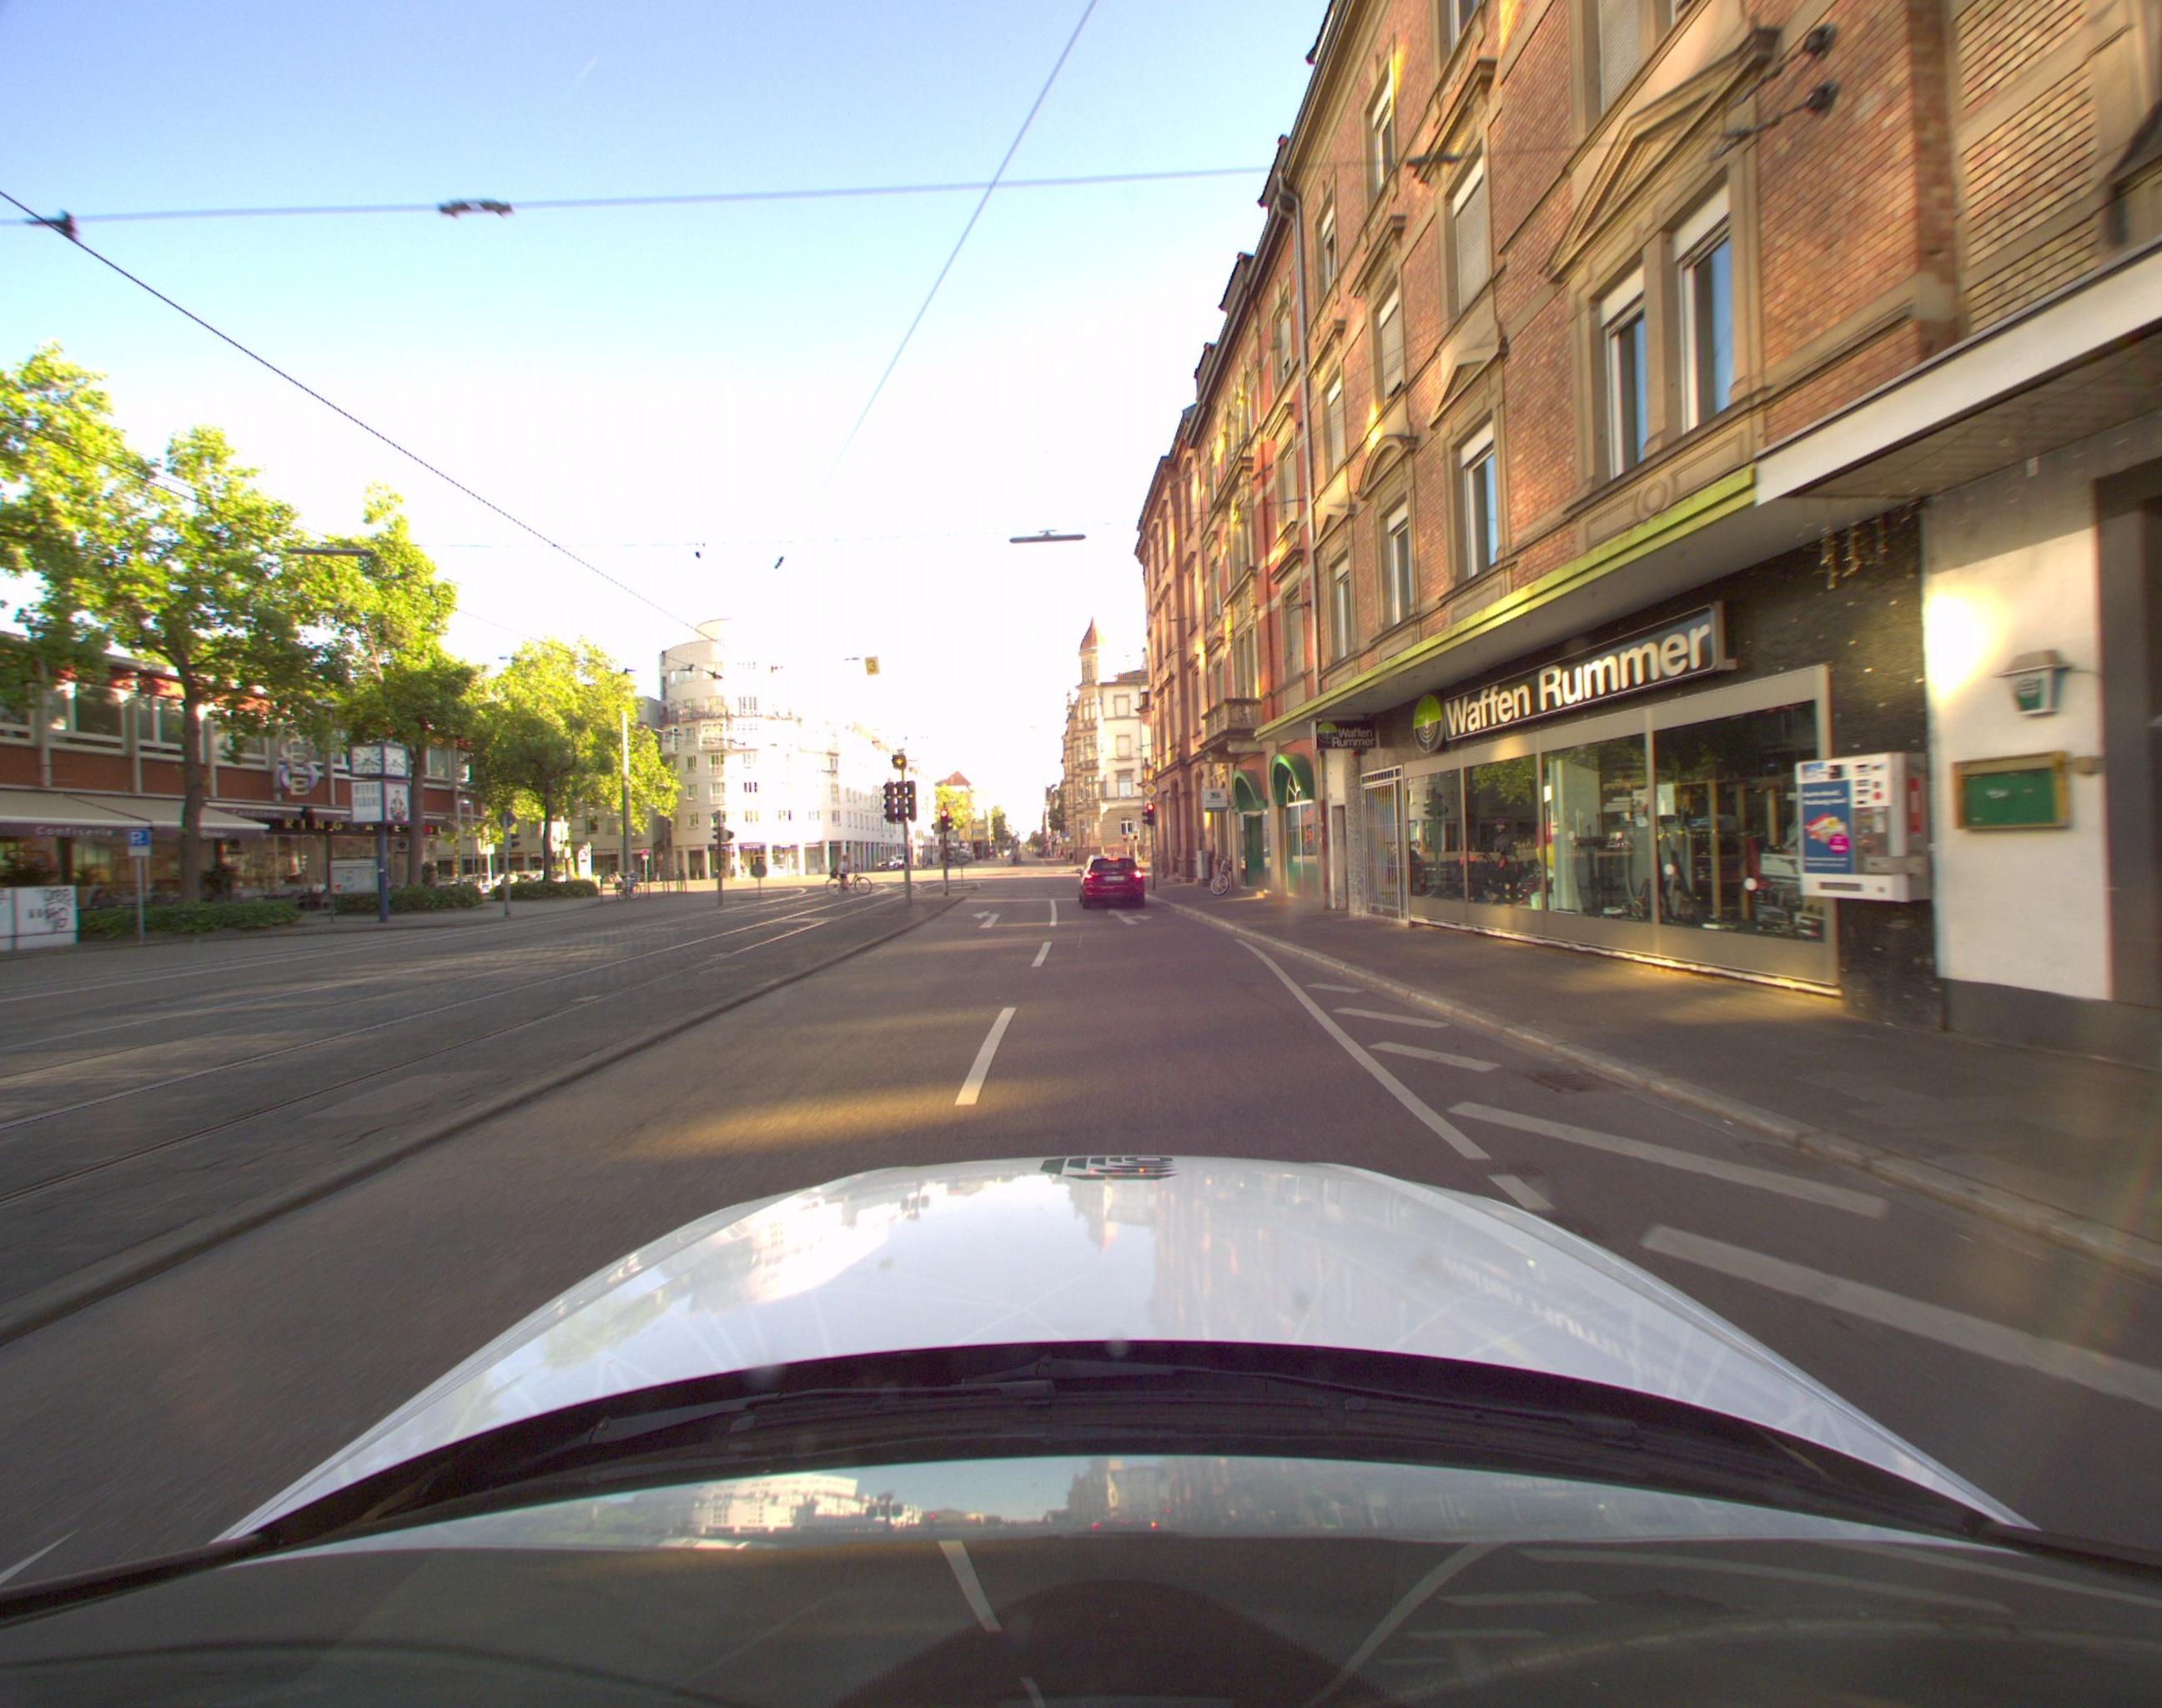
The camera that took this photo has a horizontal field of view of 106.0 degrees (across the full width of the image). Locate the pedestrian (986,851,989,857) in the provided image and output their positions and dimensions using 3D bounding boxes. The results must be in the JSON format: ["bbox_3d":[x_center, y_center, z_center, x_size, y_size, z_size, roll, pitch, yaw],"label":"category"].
[{"bbox_3d":[-24.505,0.044,213.547,0.631,1.604,0.575,-2,0,-20],"label":"pedestrian"}]

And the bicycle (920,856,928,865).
[{"bbox_3d":[-21.070,0.909,109.211,0.806,1.147,2.008,-2,0,-3],"label":"bicycle"}]

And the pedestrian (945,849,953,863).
[{"bbox_3d":[-19.027,0.244,117.549,0.954,2.013,1.047,-2,0,-3],"label":"pedestrian"}]

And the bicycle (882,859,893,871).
[{"bbox_3d":[-20.340,1.126,85.580,0.806,1.147,2.047,-2,0,-3],"label":"bicycle"}]

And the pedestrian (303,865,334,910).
[{"bbox_3d":[-30.083,1.302,32.132,0.642,1.722,0.602,-1,1,15],"label":"pedestrian"}]

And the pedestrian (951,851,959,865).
[{"bbox_3d":[-18.979,0.557,122.936,1.044,2.013,0.957,-2,0,-6],"label":"pedestrian"}]

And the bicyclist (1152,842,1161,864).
[{"bbox_3d":[5.647,-0.073,61.260,0.539,1.676,0.503,-2,0,13],"label":"bicyclist"}]

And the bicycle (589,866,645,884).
[{"bbox_3d":[-44.986,2.062,78.946,4.688,1.530,1.066,-2,0,-1],"label":"bicycle"}]

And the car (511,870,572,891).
[{"bbox_3d":[-45.750,2.229,69.096,3.972,1.531,1.617,-2,1,1],"label":"car"}]

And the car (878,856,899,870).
[{"bbox_3d":[-22.832,1.093,96.683,1.761,1.546,3.458,-2,0,-3],"label":"car"}]

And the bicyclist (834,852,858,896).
[{"bbox_3d":[-8.957,0.767,31.069,0.730,1.627,0.763,-2,0,-10],"label":"bicyclist"}]

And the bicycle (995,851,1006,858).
[{"bbox_3d":[-24.715,0.261,250.512,3.417,2.013,1.111,-2,0,-4],"label":"bicycle"}]

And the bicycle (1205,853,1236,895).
[{"bbox_3d":[4.246,0.584,24.731,0.710,1.152,1.662,-4,0,15],"label":"bicycle"}]

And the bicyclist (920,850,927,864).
[{"bbox_3d":[-21.093,0.427,109.043,0.806,1.821,0.992,-2,0,-3],"label":"bicyclist"}]

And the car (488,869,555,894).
[{"bbox_3d":[-41.441,2.036,60.394,3.981,1.559,1.635,-3,0,9],"label":"car"}]

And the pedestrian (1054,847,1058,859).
[{"bbox_3d":[-4.225,-0.214,140.090,0.575,2.013,0.631,-2,0,3],"label":"pedestrian"}]

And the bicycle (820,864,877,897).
[{"bbox_3d":[-8.983,1.002,31.490,2.018,1.177,0.626,-2,0,-11],"label":"bicycle"}]

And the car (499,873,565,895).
[{"bbox_3d":[-37.941,2.069,56.309,3.970,1.295,1.781,-2,1,22],"label":"car"}]

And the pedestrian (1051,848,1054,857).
[{"bbox_3d":[-6.406,-0.401,182.484,0.576,2.013,0.630,-2,0,-3],"label":"pedestrian"}]

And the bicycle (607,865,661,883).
[{"bbox_3d":[-44.751,2.018,81.543,4.688,1.530,1.066,-2,0,-1],"label":"bicycle"}]

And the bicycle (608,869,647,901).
[{"bbox_3d":[-19.881,1.339,35.733,0.669,1.327,1.905,1,0,-1],"label":"bicycle"}]

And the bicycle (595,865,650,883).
[{"bbox_3d":[-45.053,1.928,80.070,4.688,1.530,1.066,-2,0,-1],"label":"bicycle"}]

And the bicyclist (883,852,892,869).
[{"bbox_3d":[-20.362,0.690,85.743,0.806,1.726,0.793,-2,0,-4],"label":"bicyclist"}]

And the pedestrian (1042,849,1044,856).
[{"bbox_3d":[-10.178,-0.340,217.490,0.576,1.887,0.630,-2,0,-3],"label":"pedestrian"}]

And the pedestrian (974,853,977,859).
[{"bbox_3d":[-24.328,0.412,187.957,0.522,1.488,0.582,-2,0,-1],"label":"pedestrian"}]

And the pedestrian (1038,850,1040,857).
[{"bbox_3d":[-11.475,-0.257,221.092,0.576,1.887,0.669,-2,0,-3],"label":"pedestrian"}]

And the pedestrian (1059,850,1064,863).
[{"bbox_3d":[-3.084,0.347,126.636,0.645,2.013,0.682,-2,0,-4],"label":"pedestrian"}]

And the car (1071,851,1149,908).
[{"bbox_3d":[0.738,0.666,23.230,1.751,1.466,3.938,-1,0,-5],"label":"car"}]

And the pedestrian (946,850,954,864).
[{"bbox_3d":[-19.604,0.498,121.557,1.044,2.013,0.957,-2,0,-6],"label":"pedestrian"}]

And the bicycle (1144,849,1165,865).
[{"bbox_3d":[5.561,0.223,61.280,1.471,1.089,0.530,-2,0,12],"label":"bicycle"}]

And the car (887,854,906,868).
[{"bbox_3d":[-23.524,0.902,104.053,1.698,1.718,3.559,-2,0,-4],"label":"car"}]

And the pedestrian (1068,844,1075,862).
[{"bbox_3d":[-1.091,-0.078,92.758,0.650,2.013,0.758,-2,0,-4],"label":"pedestrian"}]

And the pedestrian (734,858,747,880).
[{"bbox_3d":[-31.524,1.356,75.361,0.950,2.013,0.931,-2,0,-31],"label":"pedestrian"}]
